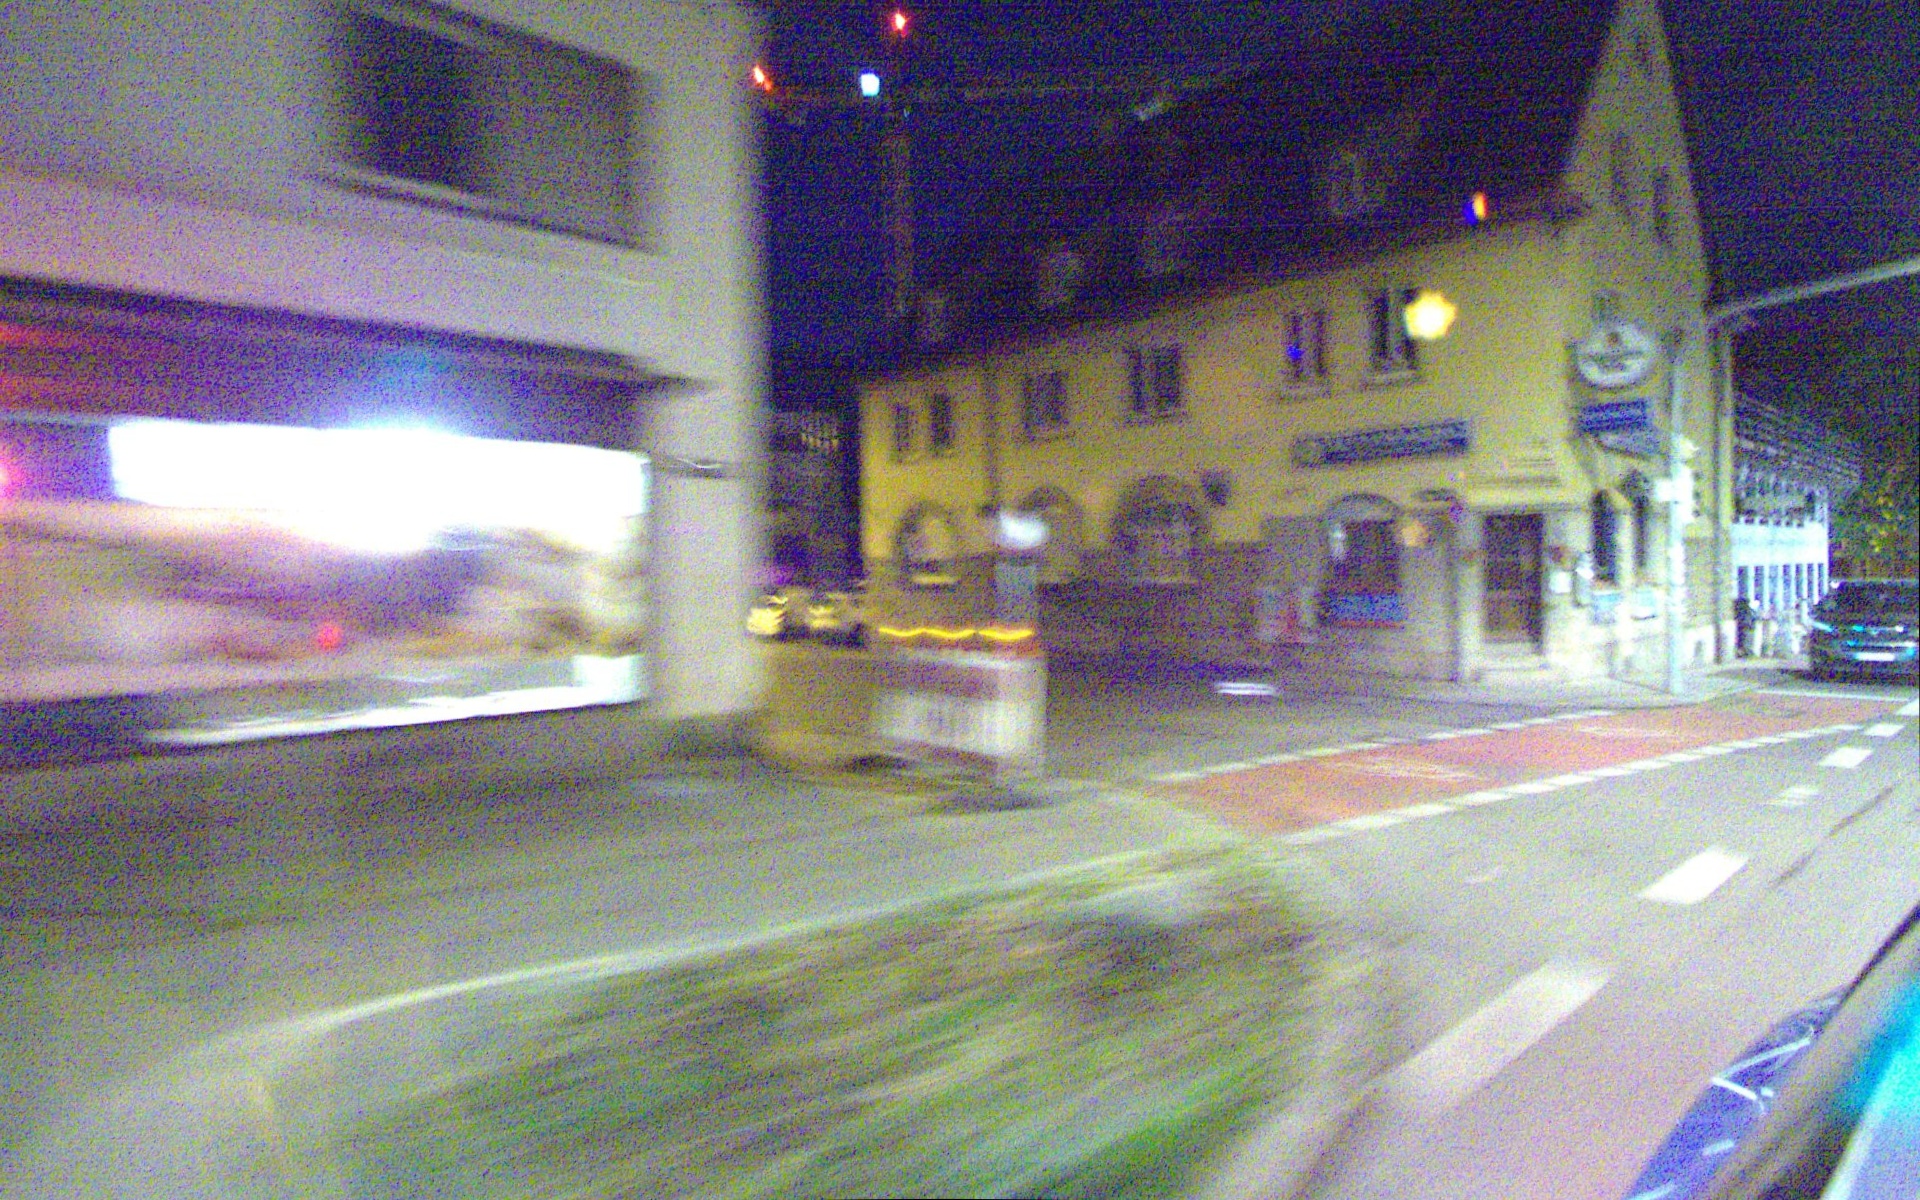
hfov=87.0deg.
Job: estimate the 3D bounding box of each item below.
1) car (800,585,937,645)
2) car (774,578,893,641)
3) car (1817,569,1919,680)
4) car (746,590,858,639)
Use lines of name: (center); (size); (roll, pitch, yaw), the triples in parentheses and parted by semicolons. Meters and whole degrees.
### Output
car: (-2.765, 0.418, 30.971); (3.848, 1.704, 1.834); (-1, 0, -41)
car: (-4.103, 0.281, 33.059); (3.439, 1.945, 1.839); (-1, 0, -43)
car: (17.454, 0.397, 18.750); (4.819, 1.850, 1.912); (0, 0, -44)
car: (-5.410, 0.472, 34.828); (3.440, 1.578, 1.753); (-1, 0, -44)
